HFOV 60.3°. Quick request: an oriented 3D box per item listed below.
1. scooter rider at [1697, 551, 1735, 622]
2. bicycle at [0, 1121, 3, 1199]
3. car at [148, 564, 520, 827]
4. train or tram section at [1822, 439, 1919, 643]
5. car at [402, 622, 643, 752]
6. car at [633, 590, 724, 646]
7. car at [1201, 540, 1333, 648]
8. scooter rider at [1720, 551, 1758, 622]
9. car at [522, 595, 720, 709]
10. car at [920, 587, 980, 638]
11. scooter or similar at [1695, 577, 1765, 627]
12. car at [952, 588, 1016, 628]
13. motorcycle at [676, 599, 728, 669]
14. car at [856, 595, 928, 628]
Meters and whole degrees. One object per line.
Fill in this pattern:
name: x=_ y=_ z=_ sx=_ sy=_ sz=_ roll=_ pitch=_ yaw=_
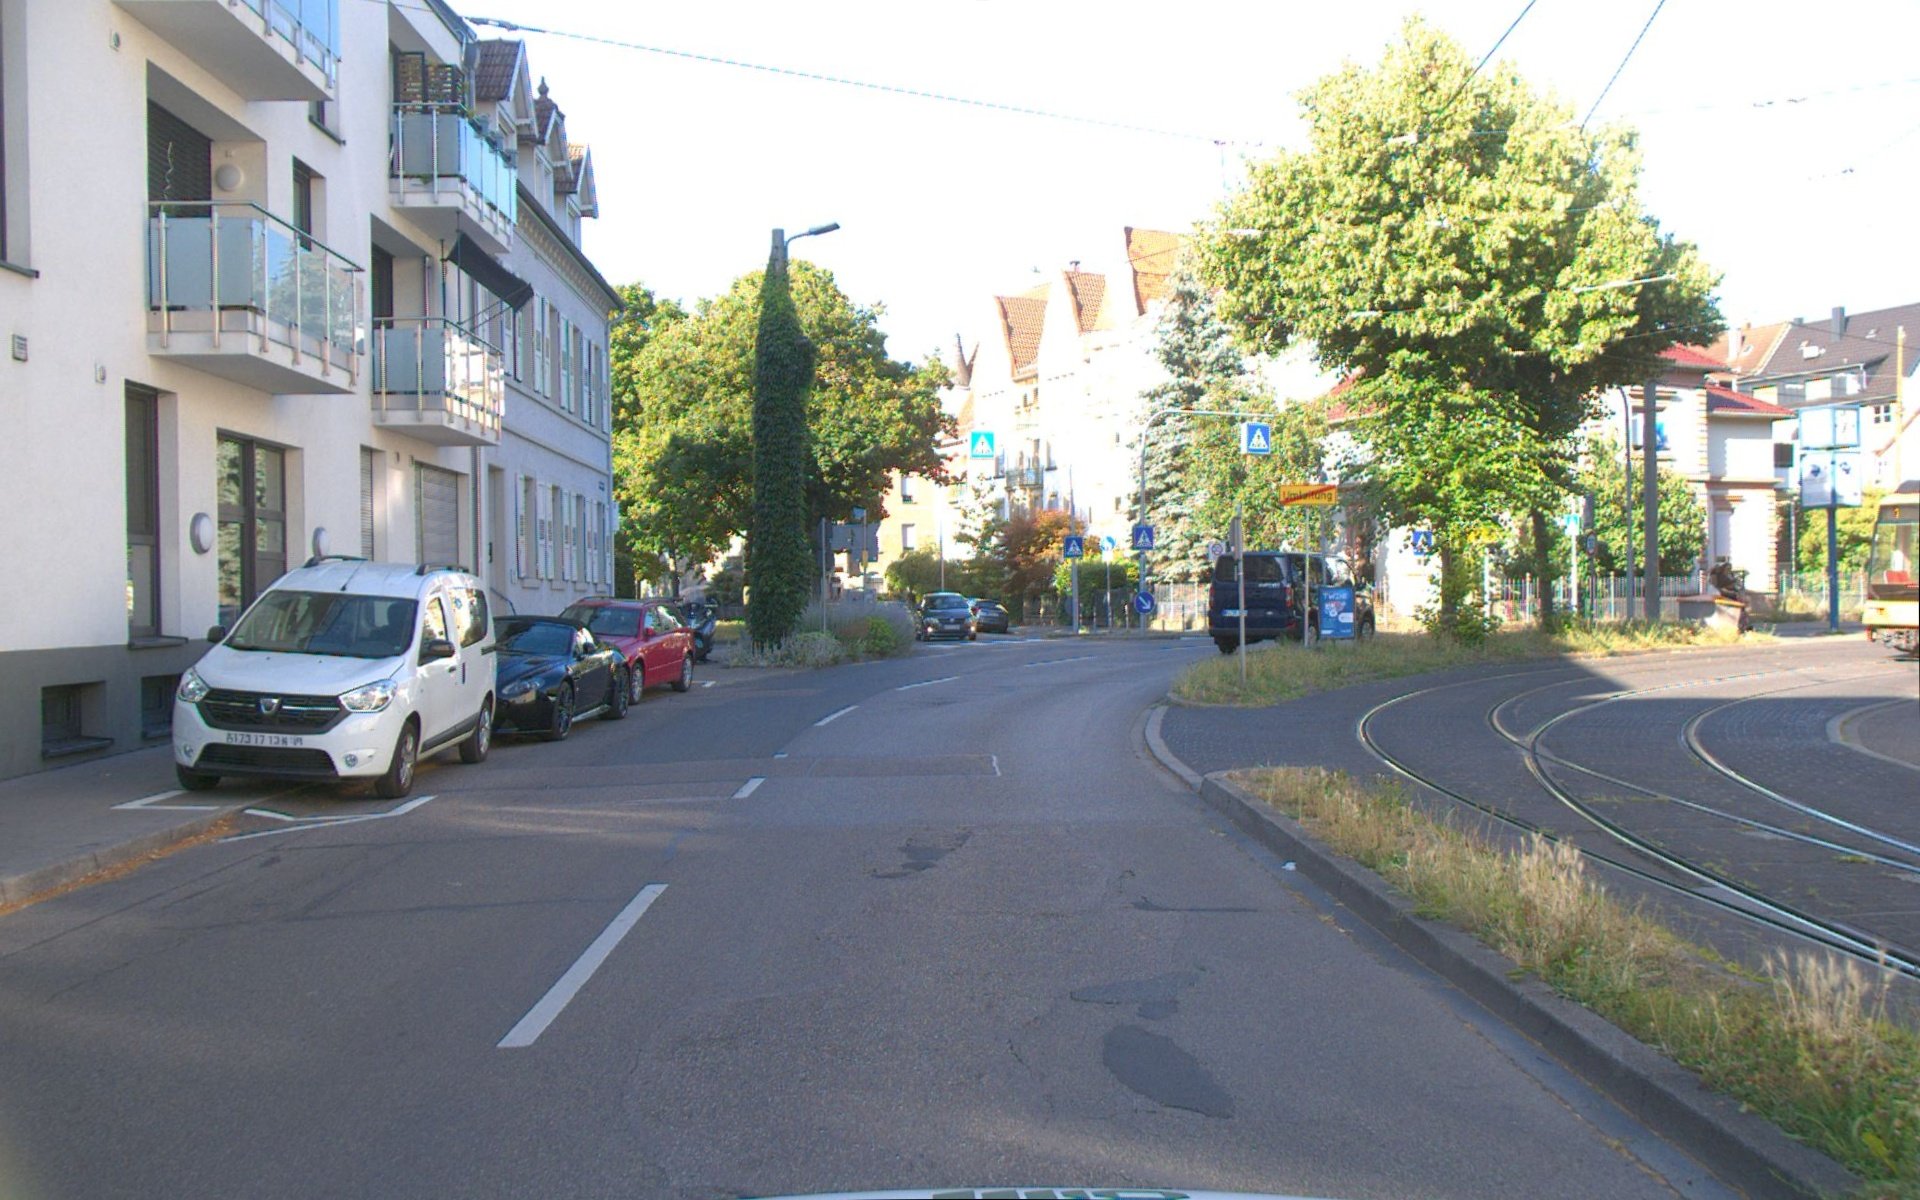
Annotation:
scooter rider: x=18.563 y=-0.325 z=40.624 sx=0.650 sy=1.701 sz=0.598 roll=-3 pitch=0 yaw=-44
bicycle: x=-2.554 y=1.073 z=2.983 sx=0.610 sy=1.100 sz=1.783 roll=-3 pitch=0 yaw=-1
car: x=-5.113 y=0.690 z=14.175 sx=1.775 sy=1.902 sz=4.329 roll=0 pitch=0 yaw=-4
train or tram section: x=21.059 y=-1.214 z=32.080 sx=9.780 sy=3.617 sz=2.757 roll=-2 pitch=1 yaw=-29
car: x=-4.937 y=0.930 z=19.202 sx=1.630 sy=1.296 sz=4.027 roll=0 pitch=0 yaw=1
car: x=-8.378 y=0.517 z=49.017 sx=1.784 sy=1.563 sz=3.881 roll=-1 pitch=0 yaw=-23
car: x=6.318 y=-0.146 z=33.695 sx=1.952 sy=2.048 sz=4.001 roll=-1 pitch=1 yaw=20
scooter rider: x=18.933 y=-0.331 z=40.207 sx=0.650 sy=1.701 sz=0.598 roll=-3 pitch=0 yaw=-44
car: x=-5.106 y=0.726 z=25.559 sx=1.673 sy=1.492 sz=4.596 roll=0 pitch=1 yaw=6
car: x=-0.264 y=0.347 z=51.298 sx=1.677 sy=1.427 sz=3.740 roll=-1 pitch=1 yaw=2
scooter or similar: x=18.803 y=0.057 z=40.385 sx=0.680 sy=1.156 sz=1.383 roll=-3 pitch=1 yaw=-45
car: x=1.005 y=0.330 z=71.639 sx=1.958 sy=1.624 sz=3.989 roll=-1 pitch=0 yaw=-11
motorcycle: x=-5.397 y=0.678 z=34.425 sx=0.914 sy=1.381 sz=2.557 roll=-1 pitch=0 yaw=-12
car: x=-3.613 y=0.578 z=86.961 sx=2.307 sy=1.624 sz=4.898 roll=-1 pitch=0 yaw=-21
